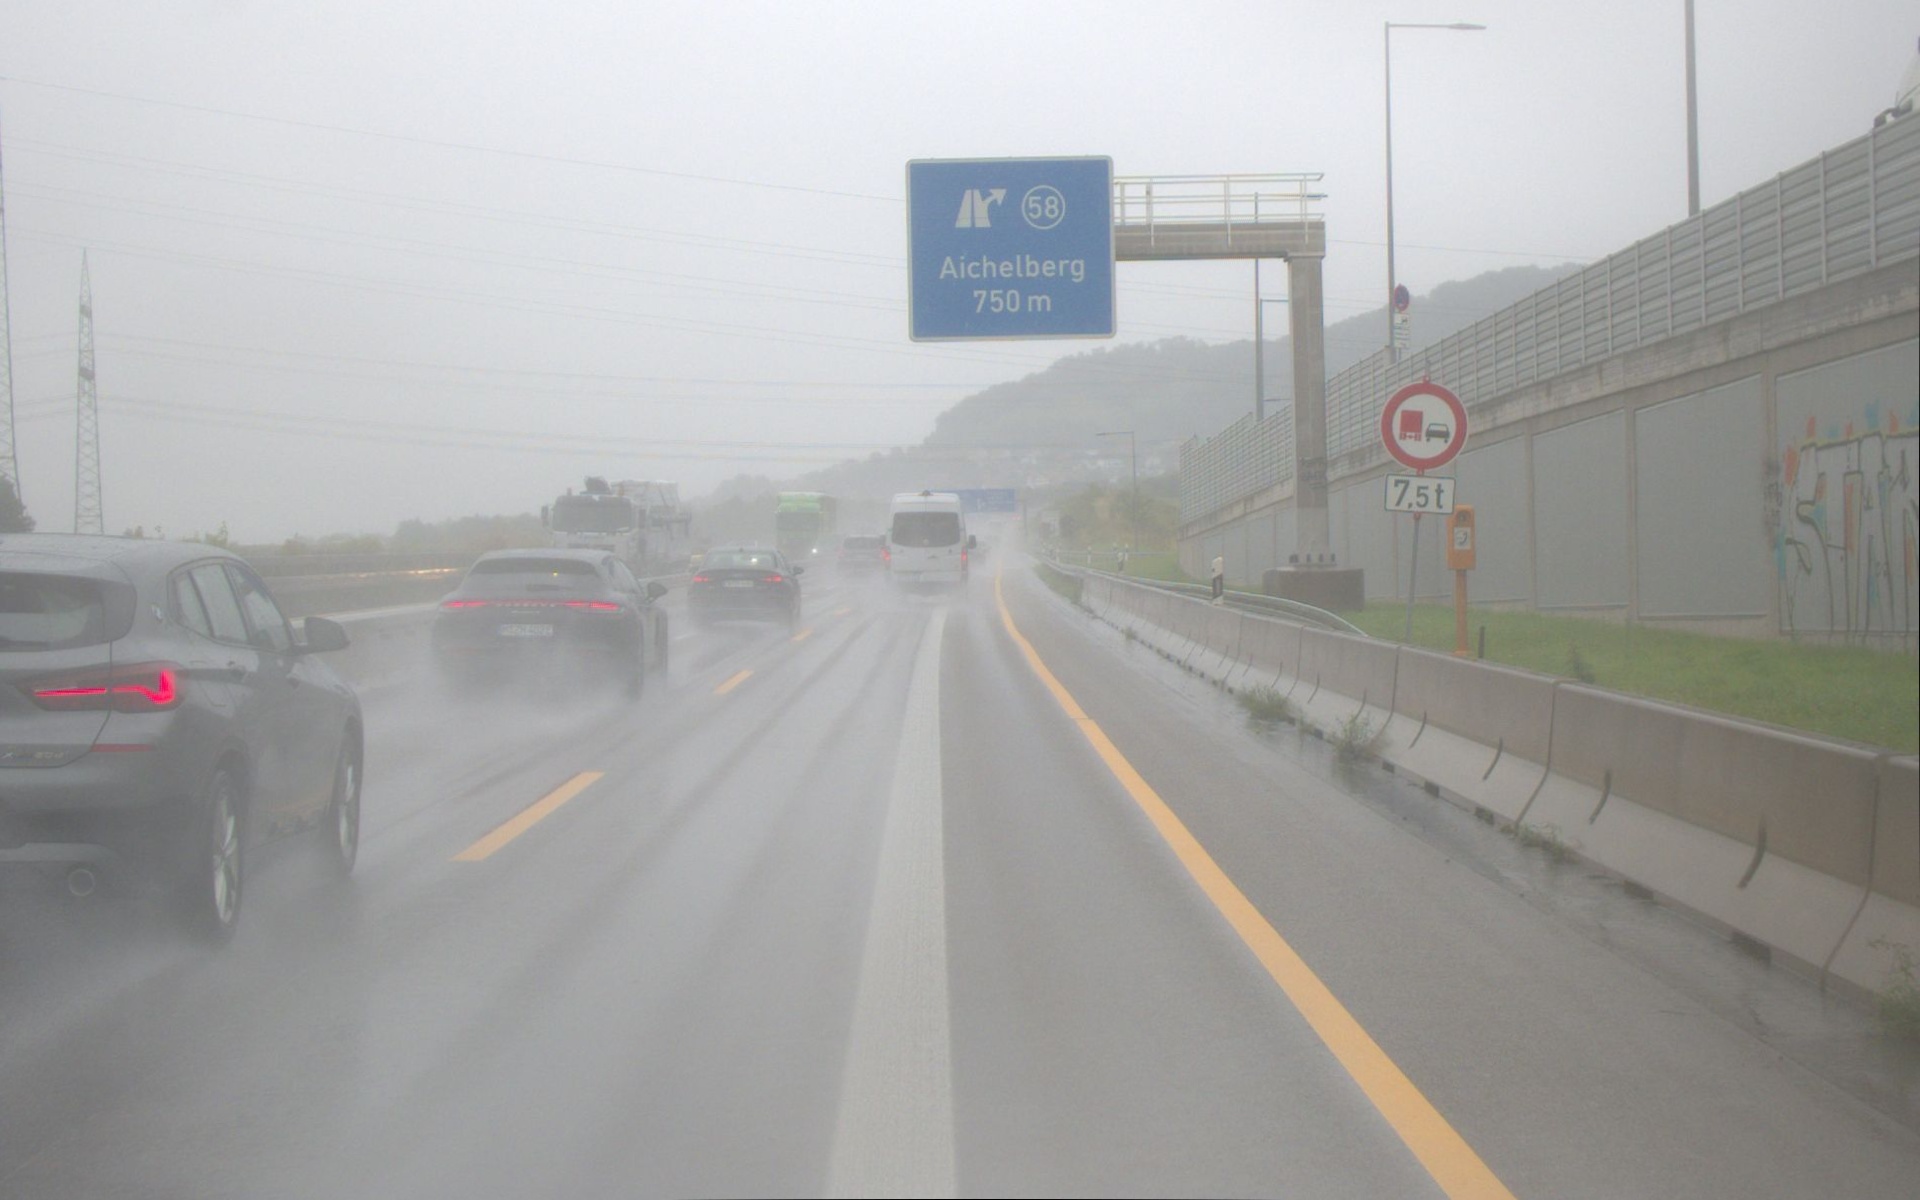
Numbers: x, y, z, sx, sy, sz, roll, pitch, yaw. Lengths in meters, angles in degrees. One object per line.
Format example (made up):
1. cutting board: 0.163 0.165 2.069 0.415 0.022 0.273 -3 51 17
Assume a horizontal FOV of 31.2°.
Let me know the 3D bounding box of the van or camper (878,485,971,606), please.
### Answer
1. van or camper: -0.865 -1.251 81.415 1.996 2.768 4.050 0 0 -3

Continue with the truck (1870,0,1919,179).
1. truck: 12.396 -6.282 41.033 1.993 2.007 4.058 0 0 0

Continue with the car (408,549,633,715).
1. car: -4.173 0.296 33.216 1.844 1.486 4.262 0 0 -3

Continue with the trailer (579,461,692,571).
1. trailer: -10.404 -2.700 110.956 2.662 3.351 9.715 0 1 0

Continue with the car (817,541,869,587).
1. car: -4.037 -1.240 118.633 1.566 1.475 2.822 -2 0 -5

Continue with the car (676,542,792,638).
1. car: -3.838 -0.201 58.676 1.844 1.486 4.262 -2 1 -3

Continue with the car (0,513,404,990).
1. car: -3.369 0.514 13.910 1.700 1.592 4.845 0 0 -3

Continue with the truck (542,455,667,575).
1. truck: -10.403 -2.481 101.351 2.639 3.336 9.553 0 1 0
